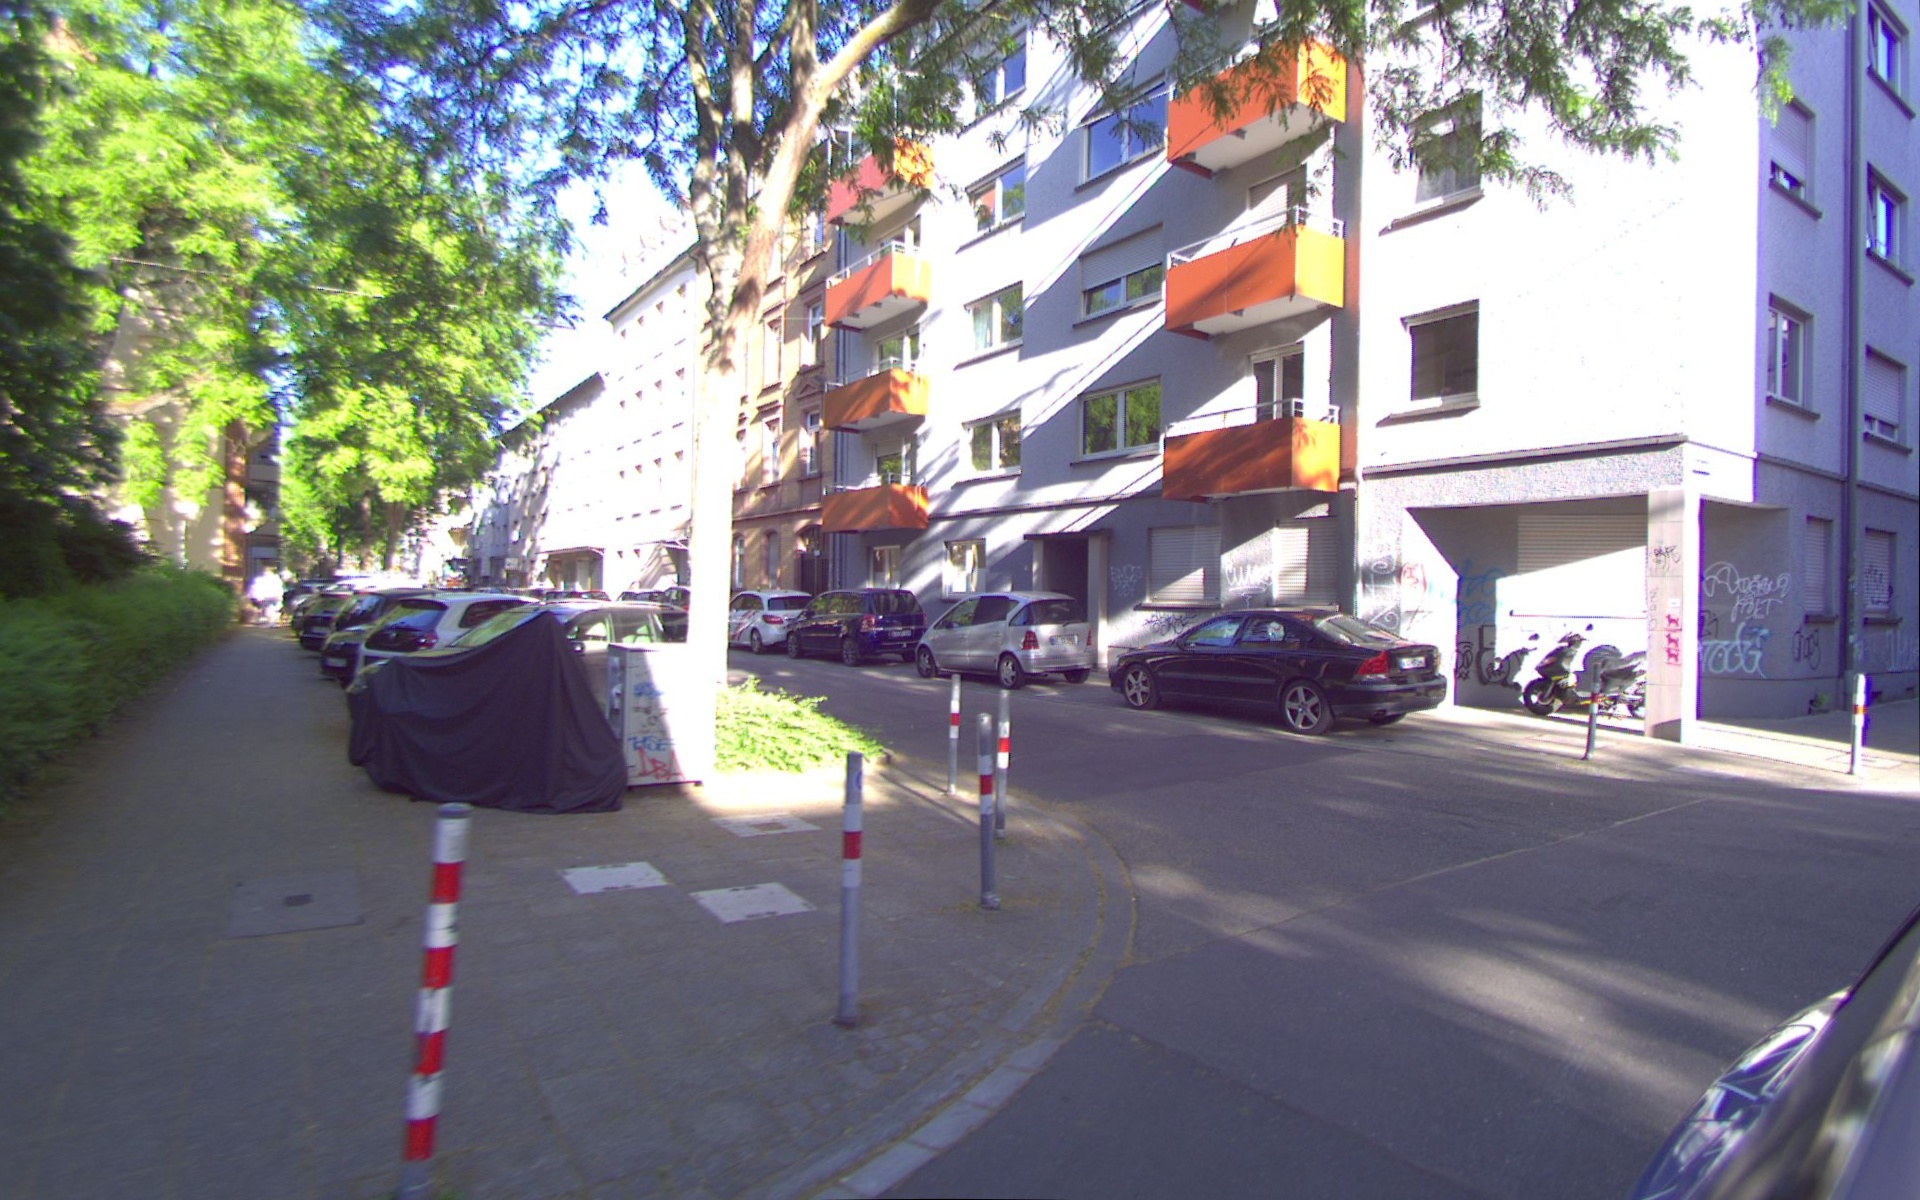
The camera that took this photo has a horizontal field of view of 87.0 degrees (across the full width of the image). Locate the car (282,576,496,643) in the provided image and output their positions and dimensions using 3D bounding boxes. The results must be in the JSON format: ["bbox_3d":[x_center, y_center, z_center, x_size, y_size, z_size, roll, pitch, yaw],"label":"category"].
[{"bbox_3d":[-13.428,0.177,24.130,1.760,1.449,4.386,0,0,20],"label":"car"}]

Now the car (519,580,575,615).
[{"bbox_3d":[-19.904,-0.147,48.697,1.619,1.598,4.003,-2,2,-35],"label":"car"}]

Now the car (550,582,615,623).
[{"bbox_3d":[-15.915,0.048,42.555,1.619,1.598,4.003,-2,2,-35],"label":"car"}]

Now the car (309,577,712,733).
[{"bbox_3d":[-4.882,0.489,11.779,1.760,1.449,4.386,0,0,20],"label":"car"}]

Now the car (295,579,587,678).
[{"bbox_3d":[-8.531,0.392,17.116,1.760,1.449,4.386,0,0,20],"label":"car"}]

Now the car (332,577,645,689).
[{"bbox_3d":[-6.922,0.400,15.423,1.760,1.449,4.386,0,0,20],"label":"car"}]

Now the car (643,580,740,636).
[{"bbox_3d":[-8.389,0.198,31.443,1.619,1.598,4.003,-2,2,-35],"label":"car"}]

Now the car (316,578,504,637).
[{"bbox_3d":[-14.549,0.155,27.077,1.760,1.449,4.386,0,0,20],"label":"car"}]

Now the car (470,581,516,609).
[{"bbox_3d":[-27.858,-0.327,60.275,1.619,1.598,4.998,-2,2,-35],"label":"car"}]

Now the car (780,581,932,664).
[{"bbox_3d":[-2.410,0.423,22.629,1.619,1.636,4.039,-2,2,-35],"label":"car"}]

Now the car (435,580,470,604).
[{"bbox_3d":[-35.603,-0.564,70.937,1.619,1.598,4.003,-2,2,-35],"label":"car"}]

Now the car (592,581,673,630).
[{"bbox_3d":[-11.662,0.144,35.894,1.619,1.598,4.003,-2,2,-35],"label":"car"}]

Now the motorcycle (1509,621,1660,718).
[{"bbox_3d":[8.123,0.866,13.190,0.893,1.131,1.470,1,0,-41],"label":"motorcycle"}]

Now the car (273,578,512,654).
[{"bbox_3d":[-11.875,0.281,21.538,1.760,1.449,4.386,0,0,20],"label":"car"}]

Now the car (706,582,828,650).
[{"bbox_3d":[-5.085,0.342,26.341,1.619,1.598,4.003,-2,2,-35],"label":"car"}]

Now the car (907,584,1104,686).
[{"bbox_3d":[0.717,0.534,18.156,1.619,1.577,3.698,-2,2,-35],"label":"car"}]

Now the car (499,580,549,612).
[{"bbox_3d":[-22.782,-0.249,52.853,1.619,1.598,4.003,-2,2,-35],"label":"car"}]

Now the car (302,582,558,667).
[{"bbox_3d":[-10.069,0.397,19.656,1.760,1.449,4.386,0,0,20],"label":"car"}]

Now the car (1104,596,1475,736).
[{"bbox_3d":[4.020,0.700,13.095,1.748,1.449,4.416,0,0,-35],"label":"car"}]
